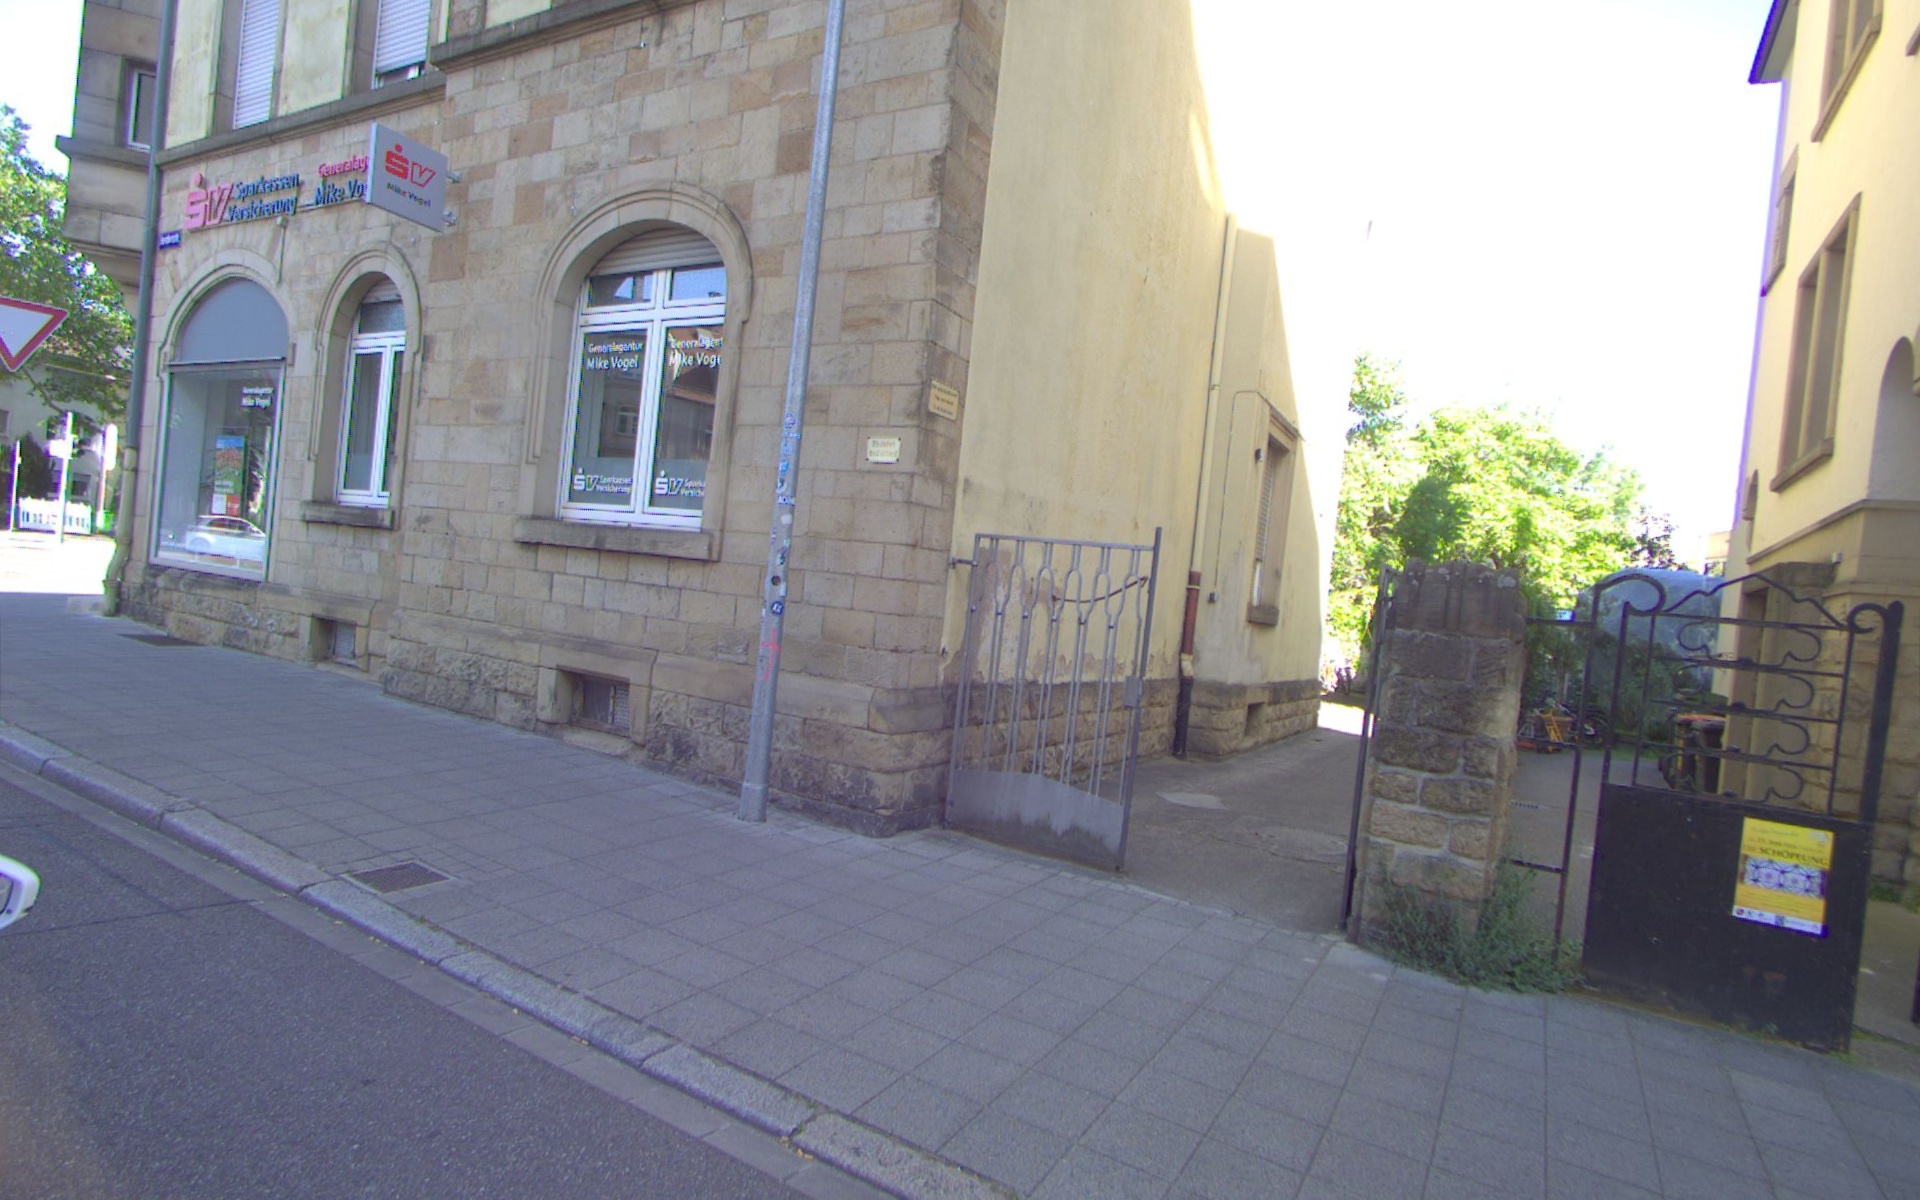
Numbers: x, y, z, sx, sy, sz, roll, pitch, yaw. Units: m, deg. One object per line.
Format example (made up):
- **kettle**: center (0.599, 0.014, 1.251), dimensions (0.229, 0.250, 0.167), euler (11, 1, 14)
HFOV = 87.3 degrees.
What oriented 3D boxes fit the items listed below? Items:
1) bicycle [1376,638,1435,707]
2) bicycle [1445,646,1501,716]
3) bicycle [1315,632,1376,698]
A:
- **bicycle**: center (11.210, 1.775, 25.257), dimensions (0.904, 1.532, 2.667), euler (6, 2, 31)
- **bicycle**: center (12.595, 1.934, 24.643), dimensions (0.904, 1.532, 2.667), euler (6, 2, 31)
- **bicycle**: center (9.977, 1.640, 25.973), dimensions (0.904, 1.532, 2.667), euler (6, 2, 31)
